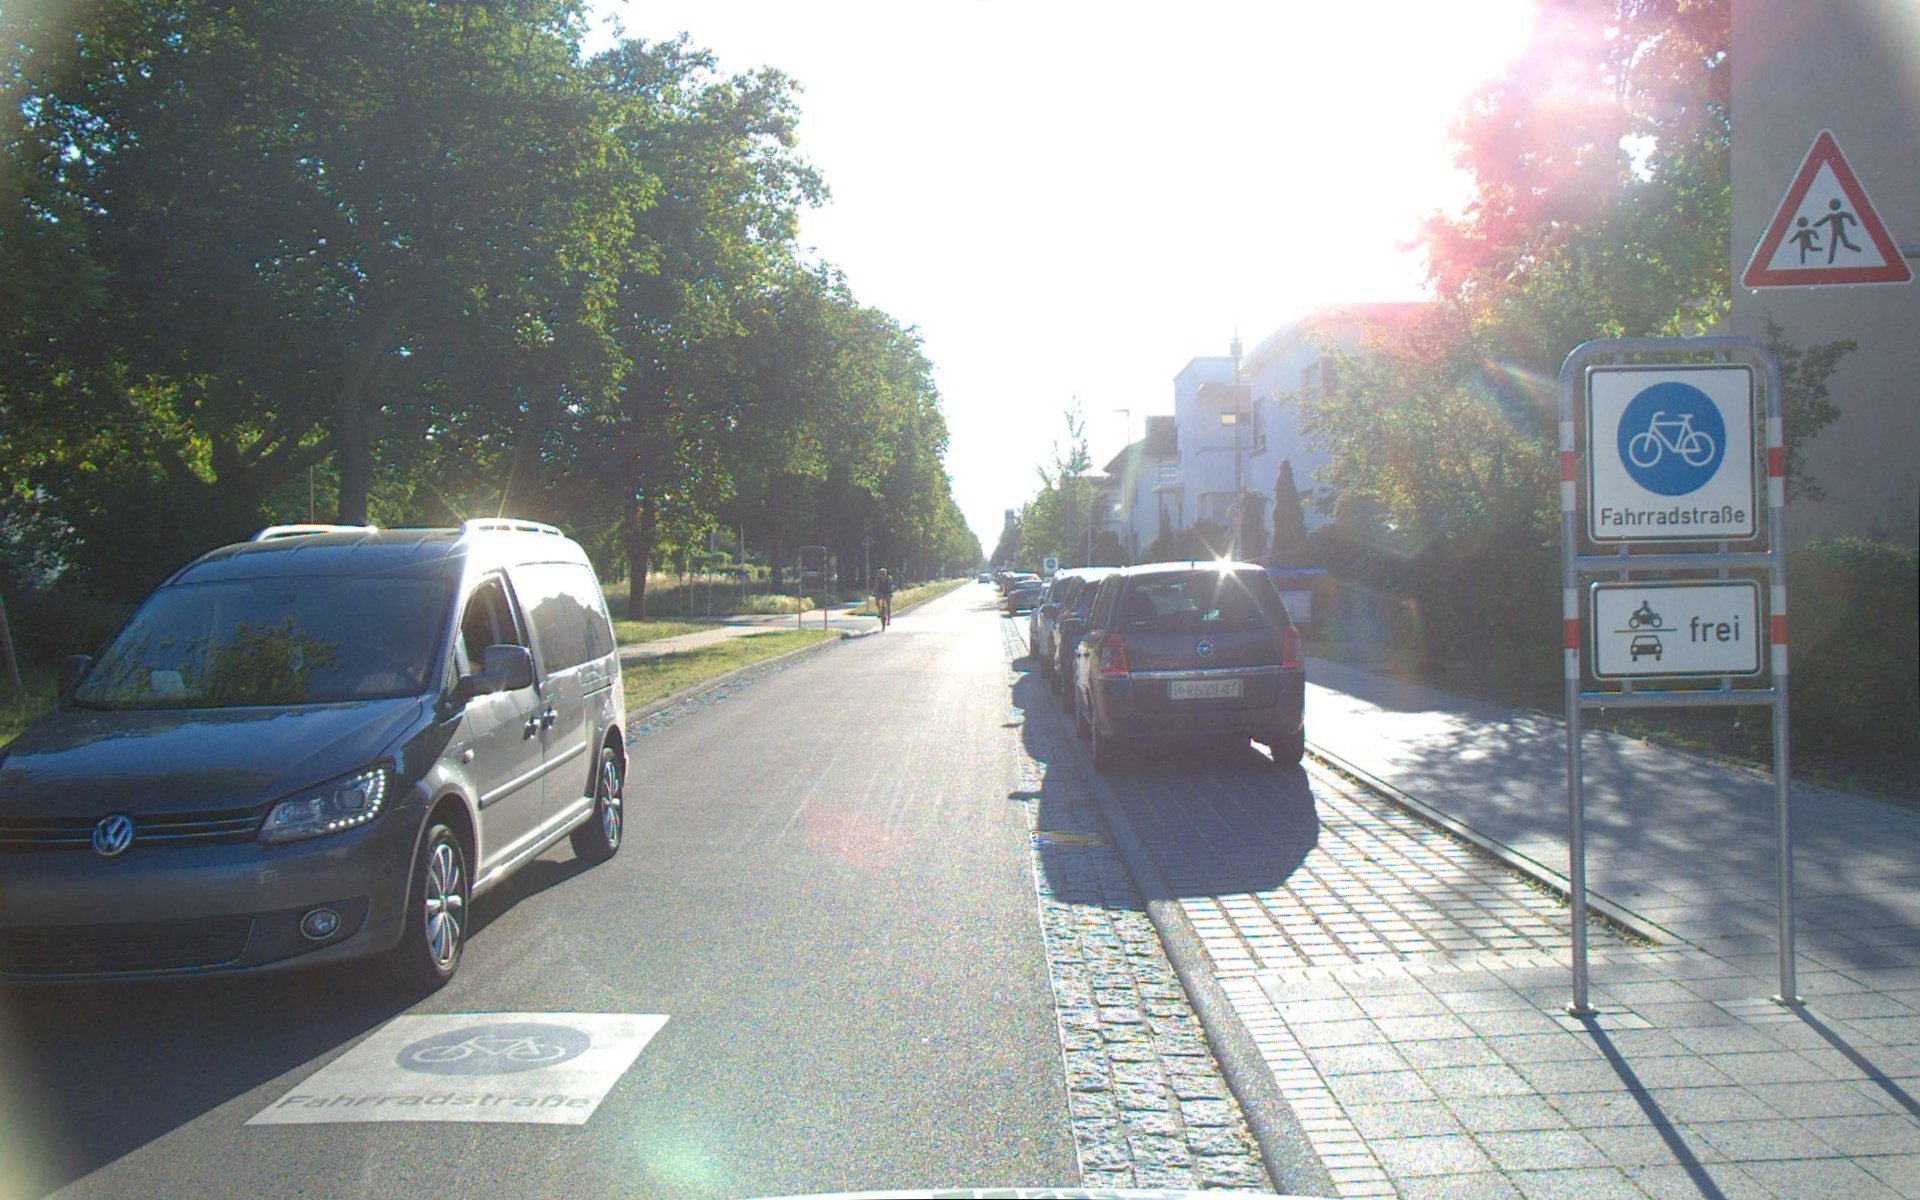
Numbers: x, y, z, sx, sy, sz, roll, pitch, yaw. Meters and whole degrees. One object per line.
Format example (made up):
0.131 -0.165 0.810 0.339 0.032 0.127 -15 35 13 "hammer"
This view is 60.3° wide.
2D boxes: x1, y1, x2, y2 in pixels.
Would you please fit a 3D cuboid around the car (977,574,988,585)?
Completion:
3.292 -2.990 244.216 1.618 1.568 3.267 1 1 1 "car"

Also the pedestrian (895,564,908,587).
-4.118 -1.720 116.748 0.766 1.642 0.952 0 1 4 "pedestrian"

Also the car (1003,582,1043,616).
3.010 -0.075 79.795 1.709 1.499 3.922 -3 1 0 "car"

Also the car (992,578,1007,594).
3.980 -1.448 167.437 1.467 1.594 3.268 -1 1 2 "car"

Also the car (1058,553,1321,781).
1.855 0.469 14.557 1.675 1.638 4.169 -3 1 0 "car"

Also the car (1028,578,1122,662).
2.111 0.330 31.289 1.531 1.414 4.375 -2 1 1 "car"

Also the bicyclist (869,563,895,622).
-2.300 -0.218 48.921 0.667 1.702 1.172 -1 0 1 "bicyclist"

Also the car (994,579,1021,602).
3.287 -0.652 115.927 1.701 1.474 4.197 -2 0 0 "car"

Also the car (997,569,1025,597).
3.087 -1.044 99.885 1.594 1.531 3.634 -2 1 2 "car"

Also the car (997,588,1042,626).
2.436 0.267 68.268 1.738 1.310 4.274 -3 2 2 "car"

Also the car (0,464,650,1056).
-2.804 0.515 7.664 1.806 1.879 4.573 -2 0 0 "car"

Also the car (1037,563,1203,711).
1.874 0.382 20.417 1.644 1.582 4.145 -2 1 1 "car"

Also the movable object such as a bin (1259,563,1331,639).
6.536 0.015 32.326 1.211 1.457 1.123 0 1 3 "movable object such as a bin"

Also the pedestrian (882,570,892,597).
-5.136 -1.152 116.845 0.611 1.863 0.886 0 1 4 "pedestrian"

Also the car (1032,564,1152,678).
1.994 0.270 25.945 1.644 1.582 4.131 -2 1 2 "car"

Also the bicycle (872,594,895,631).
-2.253 0.358 48.868 0.545 1.050 1.915 -1 0 1 "bicycle"

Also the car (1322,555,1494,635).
9.581 -0.116 35.562 3.418 1.670 1.644 0 0 9 "car"
